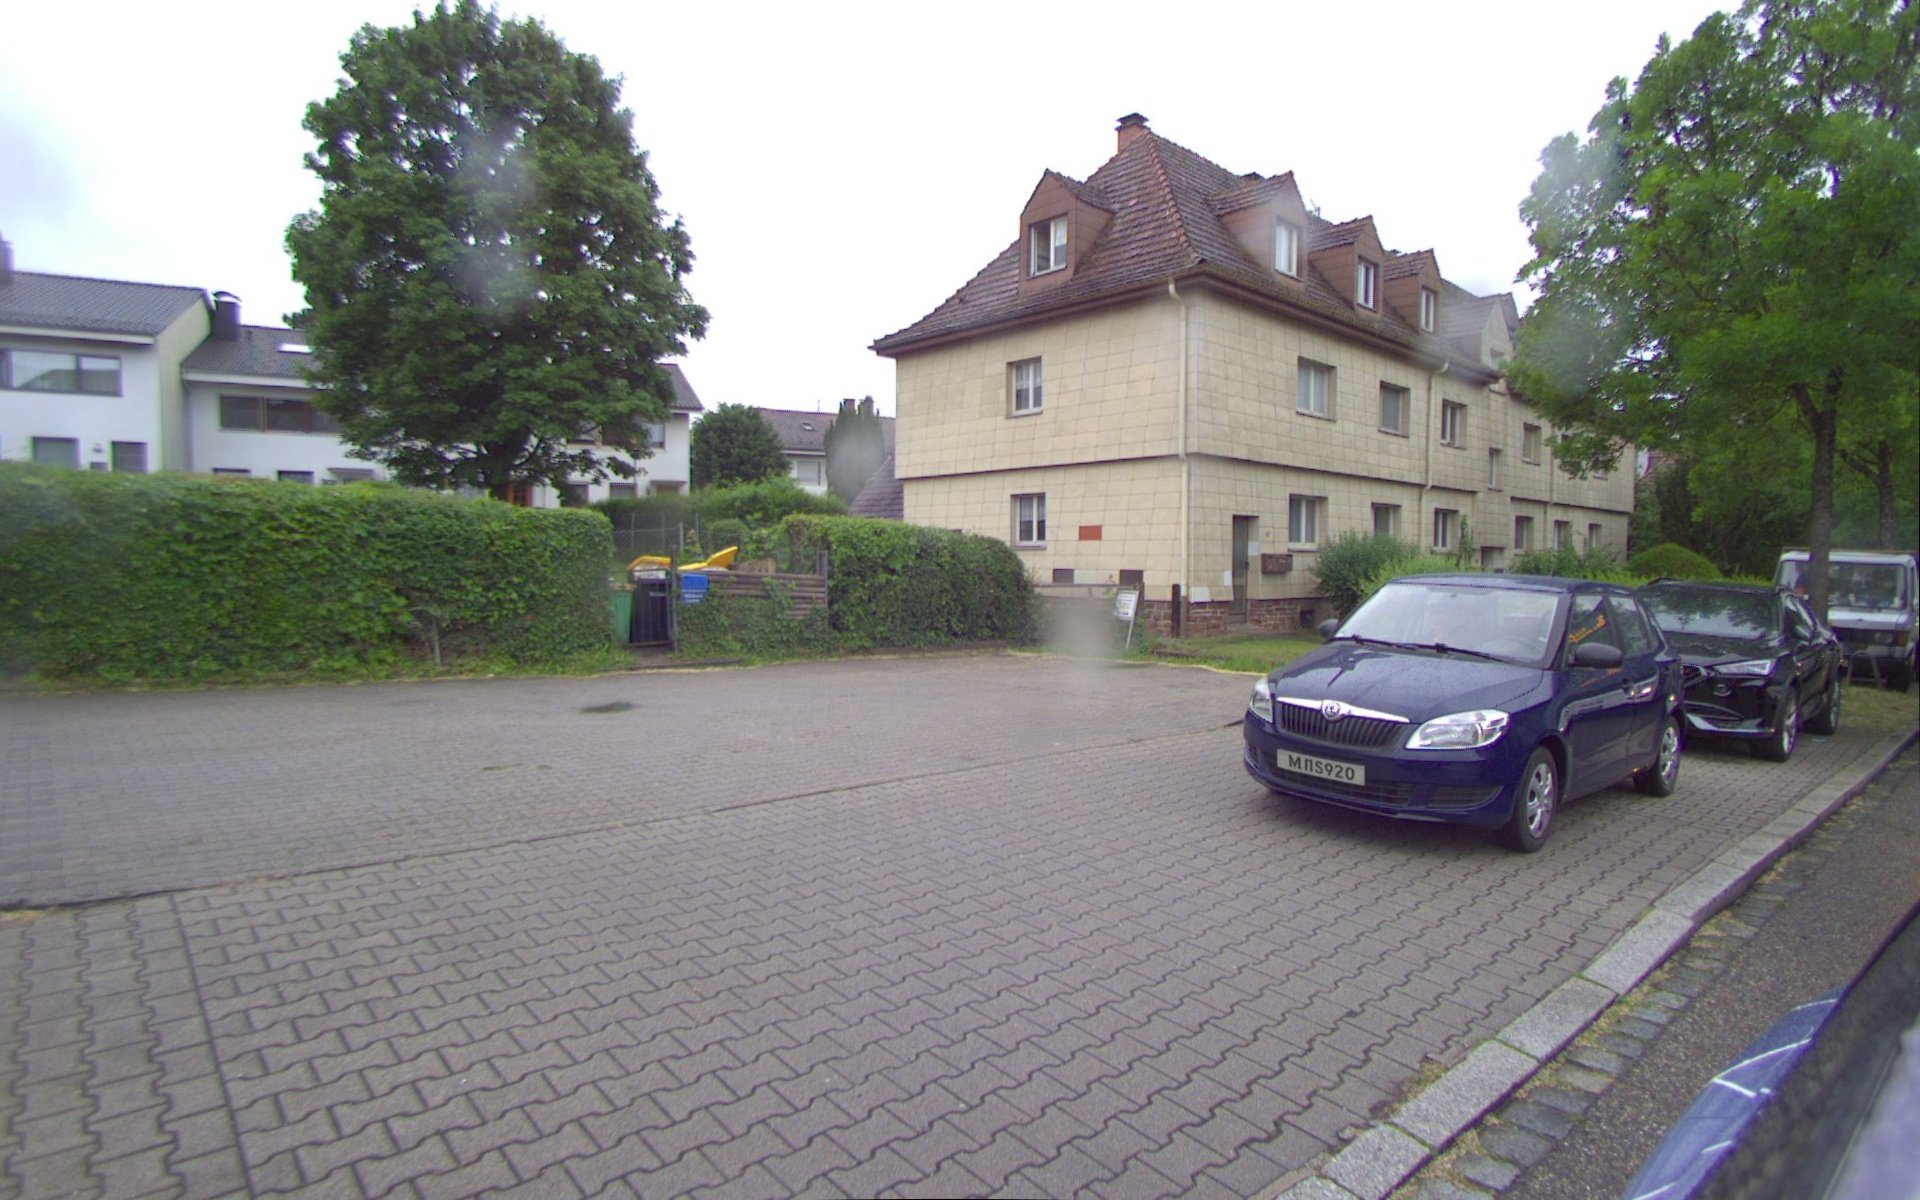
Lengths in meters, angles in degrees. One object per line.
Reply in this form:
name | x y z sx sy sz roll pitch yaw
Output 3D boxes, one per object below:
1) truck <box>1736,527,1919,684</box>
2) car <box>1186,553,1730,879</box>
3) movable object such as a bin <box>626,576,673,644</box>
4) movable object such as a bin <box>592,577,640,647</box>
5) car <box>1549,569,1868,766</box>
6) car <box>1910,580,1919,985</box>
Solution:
truck | 14.978 0.046 16.898 5.653 2.224 1.998 0 2 -40
car | 3.389 0.481 6.557 3.930 1.441 1.719 -1 4 -41
movable object such as a bin | -4.443 0.138 14.494 0.441 0.954 0.539 0 0 -45
movable object such as a bin | -4.788 0.160 14.077 0.441 0.954 0.539 0 0 -45
car | 7.430 0.488 9.906 3.932 1.481 1.719 -1 4 -42
car | 5.627 0.689 4.299 4.240 1.548 1.881 0 -1 -41
